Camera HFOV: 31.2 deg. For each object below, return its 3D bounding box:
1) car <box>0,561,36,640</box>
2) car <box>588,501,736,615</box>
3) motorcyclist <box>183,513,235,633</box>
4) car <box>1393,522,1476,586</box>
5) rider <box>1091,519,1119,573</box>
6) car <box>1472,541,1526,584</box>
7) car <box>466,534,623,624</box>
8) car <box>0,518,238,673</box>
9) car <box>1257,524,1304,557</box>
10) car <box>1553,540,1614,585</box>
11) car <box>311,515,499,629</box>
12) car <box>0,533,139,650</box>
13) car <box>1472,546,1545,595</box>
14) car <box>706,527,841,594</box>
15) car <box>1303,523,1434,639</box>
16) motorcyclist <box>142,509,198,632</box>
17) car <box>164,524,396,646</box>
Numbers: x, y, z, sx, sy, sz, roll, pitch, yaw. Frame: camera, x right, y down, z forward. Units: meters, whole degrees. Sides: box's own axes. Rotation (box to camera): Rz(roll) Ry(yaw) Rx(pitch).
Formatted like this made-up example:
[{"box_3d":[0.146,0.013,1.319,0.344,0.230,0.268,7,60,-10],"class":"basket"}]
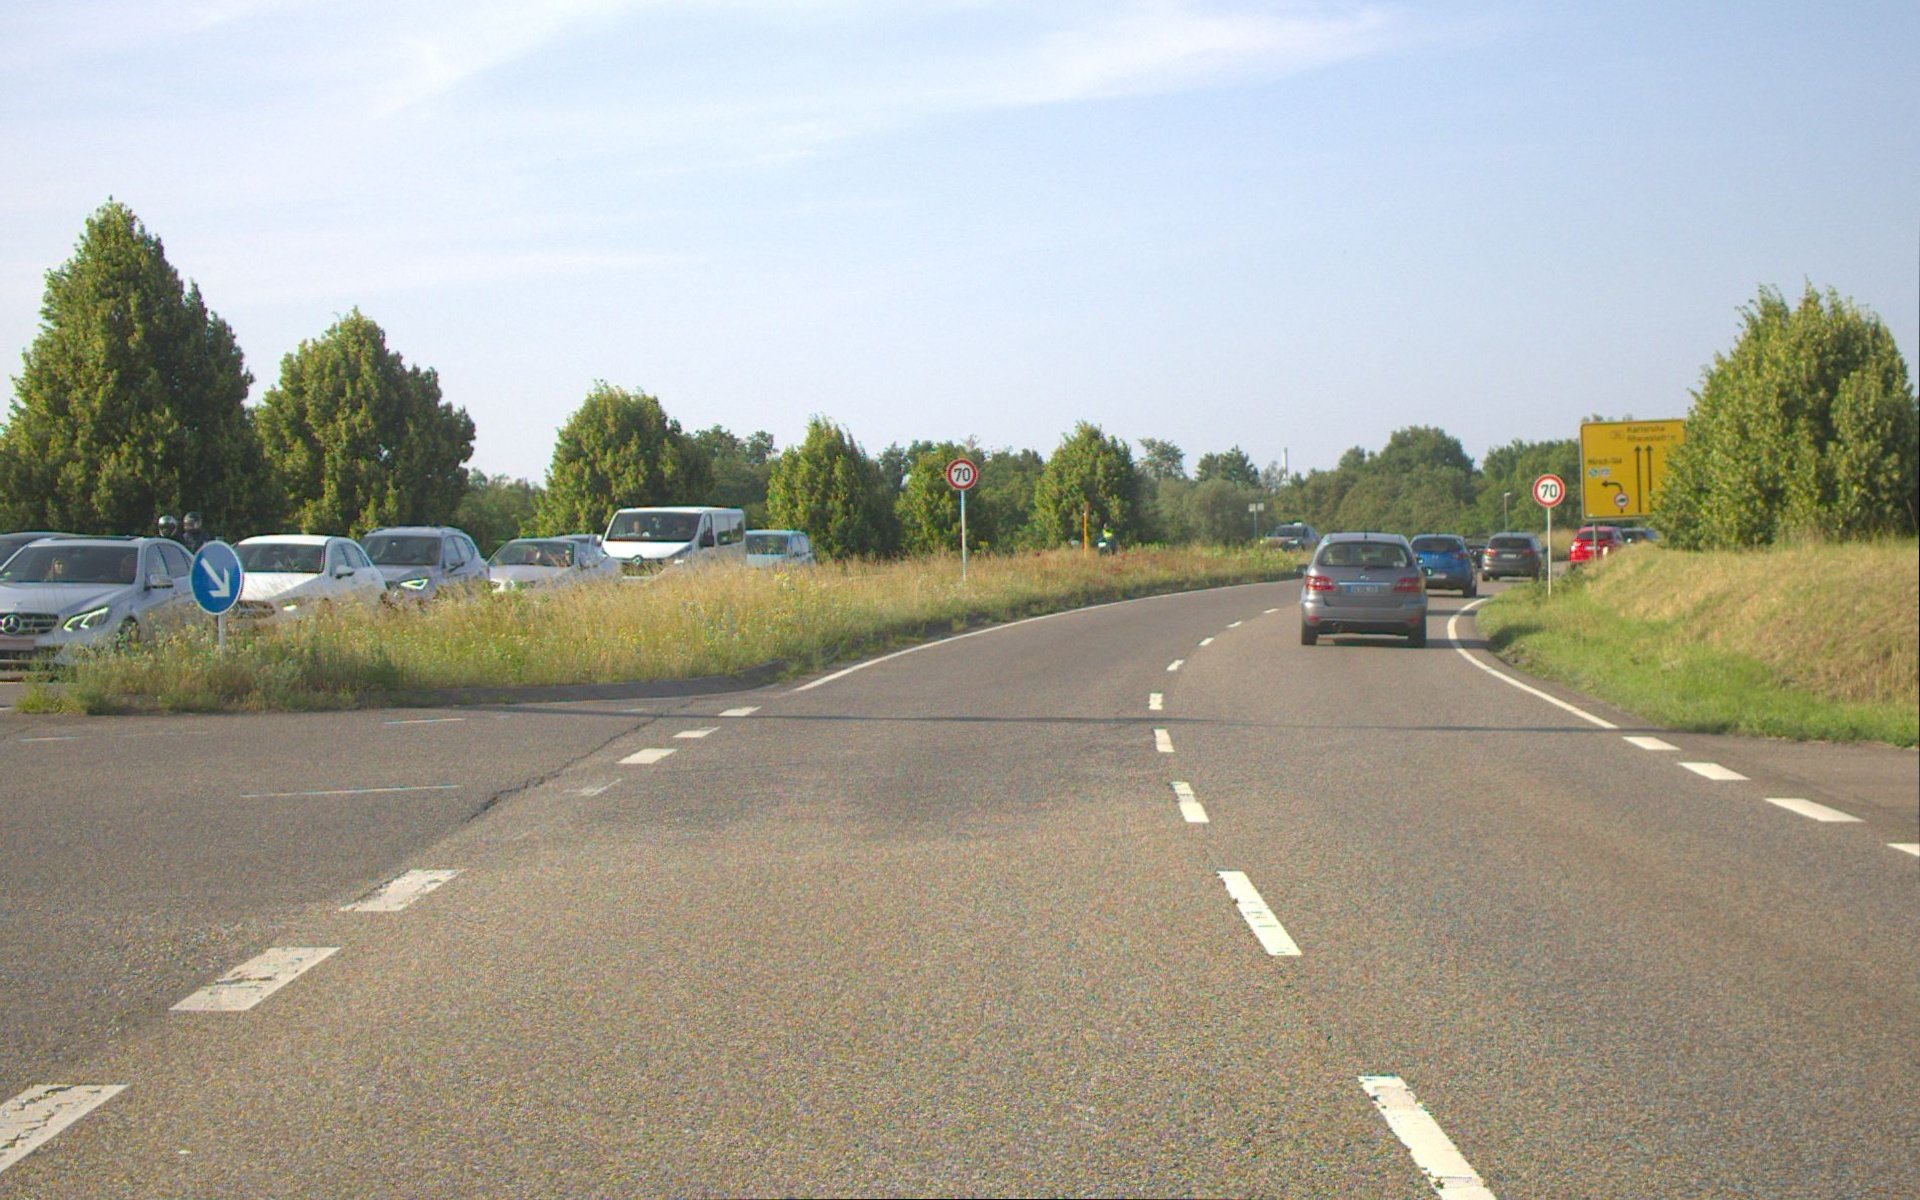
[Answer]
[{"box_3d":[-14.627,0.029,47.797,1.994,1.098,4.477,0,1,6],"class":"car"},{"box_3d":[-5.592,-0.801,64.995,1.926,2.071,4.242,-1,1,7],"class":"car"},{"box_3d":[-11.410,-0.411,52.211,0.662,1.810,0.605,-1,1,-3],"class":"motorcyclist"},{"box_3d":[11.379,-1.117,82.341,1.773,1.487,3.983,0,1,11],"class":"car"},{"box_3d":[5.336,-1.988,126.843,0.868,2.007,0.771,0,1,15],"class":"rider"},{"box_3d":[18.988,-1.331,121.029,1.773,1.487,3.983,0,1,11],"class":"car"},{"box_3d":[-6.669,-0.357,55.597,1.786,1.381,4.051,-1,1,4],"class":"car"},{"box_3d":[-8.992,-0.075,35.507,1.786,1.483,4.651,-1,1,4],"class":"car"},{"box_3d":[13.757,-2.561,147.500,1.406,1.397,3.419,0,1,16],"class":"car"},{"box_3d":[22.725,-1.346,125.203,1.896,1.559,4.275,0,0,14],"class":"car"},{"box_3d":[-7.934,-0.419,49.444,1.786,1.563,4.051,-1,1,4],"class":"car"},{"box_3d":[-12.014,-0.134,43.997,1.786,1.428,4.051,-1,1,4],"class":"car"},{"box_3d":[16.393,-0.873,102.659,1.916,1.411,3.793,0,0,13],"class":"car"},{"box_3d":[-3.953,-0.860,73.516,1.787,1.381,4.049,0,1,13],"class":"car"},{"box_3d":[5.931,-0.249,49.599,1.785,1.600,4.194,0,0,8],"class":"car"},{"box_3d":[-11.323,-0.426,49.291,0.662,1.741,0.605,-1,1,-3],"class":"motorcyclist"},{"box_3d":[-8.465,-0.212,43.137,1.786,1.428,4.308,-1,1,4],"class":"car"}]
